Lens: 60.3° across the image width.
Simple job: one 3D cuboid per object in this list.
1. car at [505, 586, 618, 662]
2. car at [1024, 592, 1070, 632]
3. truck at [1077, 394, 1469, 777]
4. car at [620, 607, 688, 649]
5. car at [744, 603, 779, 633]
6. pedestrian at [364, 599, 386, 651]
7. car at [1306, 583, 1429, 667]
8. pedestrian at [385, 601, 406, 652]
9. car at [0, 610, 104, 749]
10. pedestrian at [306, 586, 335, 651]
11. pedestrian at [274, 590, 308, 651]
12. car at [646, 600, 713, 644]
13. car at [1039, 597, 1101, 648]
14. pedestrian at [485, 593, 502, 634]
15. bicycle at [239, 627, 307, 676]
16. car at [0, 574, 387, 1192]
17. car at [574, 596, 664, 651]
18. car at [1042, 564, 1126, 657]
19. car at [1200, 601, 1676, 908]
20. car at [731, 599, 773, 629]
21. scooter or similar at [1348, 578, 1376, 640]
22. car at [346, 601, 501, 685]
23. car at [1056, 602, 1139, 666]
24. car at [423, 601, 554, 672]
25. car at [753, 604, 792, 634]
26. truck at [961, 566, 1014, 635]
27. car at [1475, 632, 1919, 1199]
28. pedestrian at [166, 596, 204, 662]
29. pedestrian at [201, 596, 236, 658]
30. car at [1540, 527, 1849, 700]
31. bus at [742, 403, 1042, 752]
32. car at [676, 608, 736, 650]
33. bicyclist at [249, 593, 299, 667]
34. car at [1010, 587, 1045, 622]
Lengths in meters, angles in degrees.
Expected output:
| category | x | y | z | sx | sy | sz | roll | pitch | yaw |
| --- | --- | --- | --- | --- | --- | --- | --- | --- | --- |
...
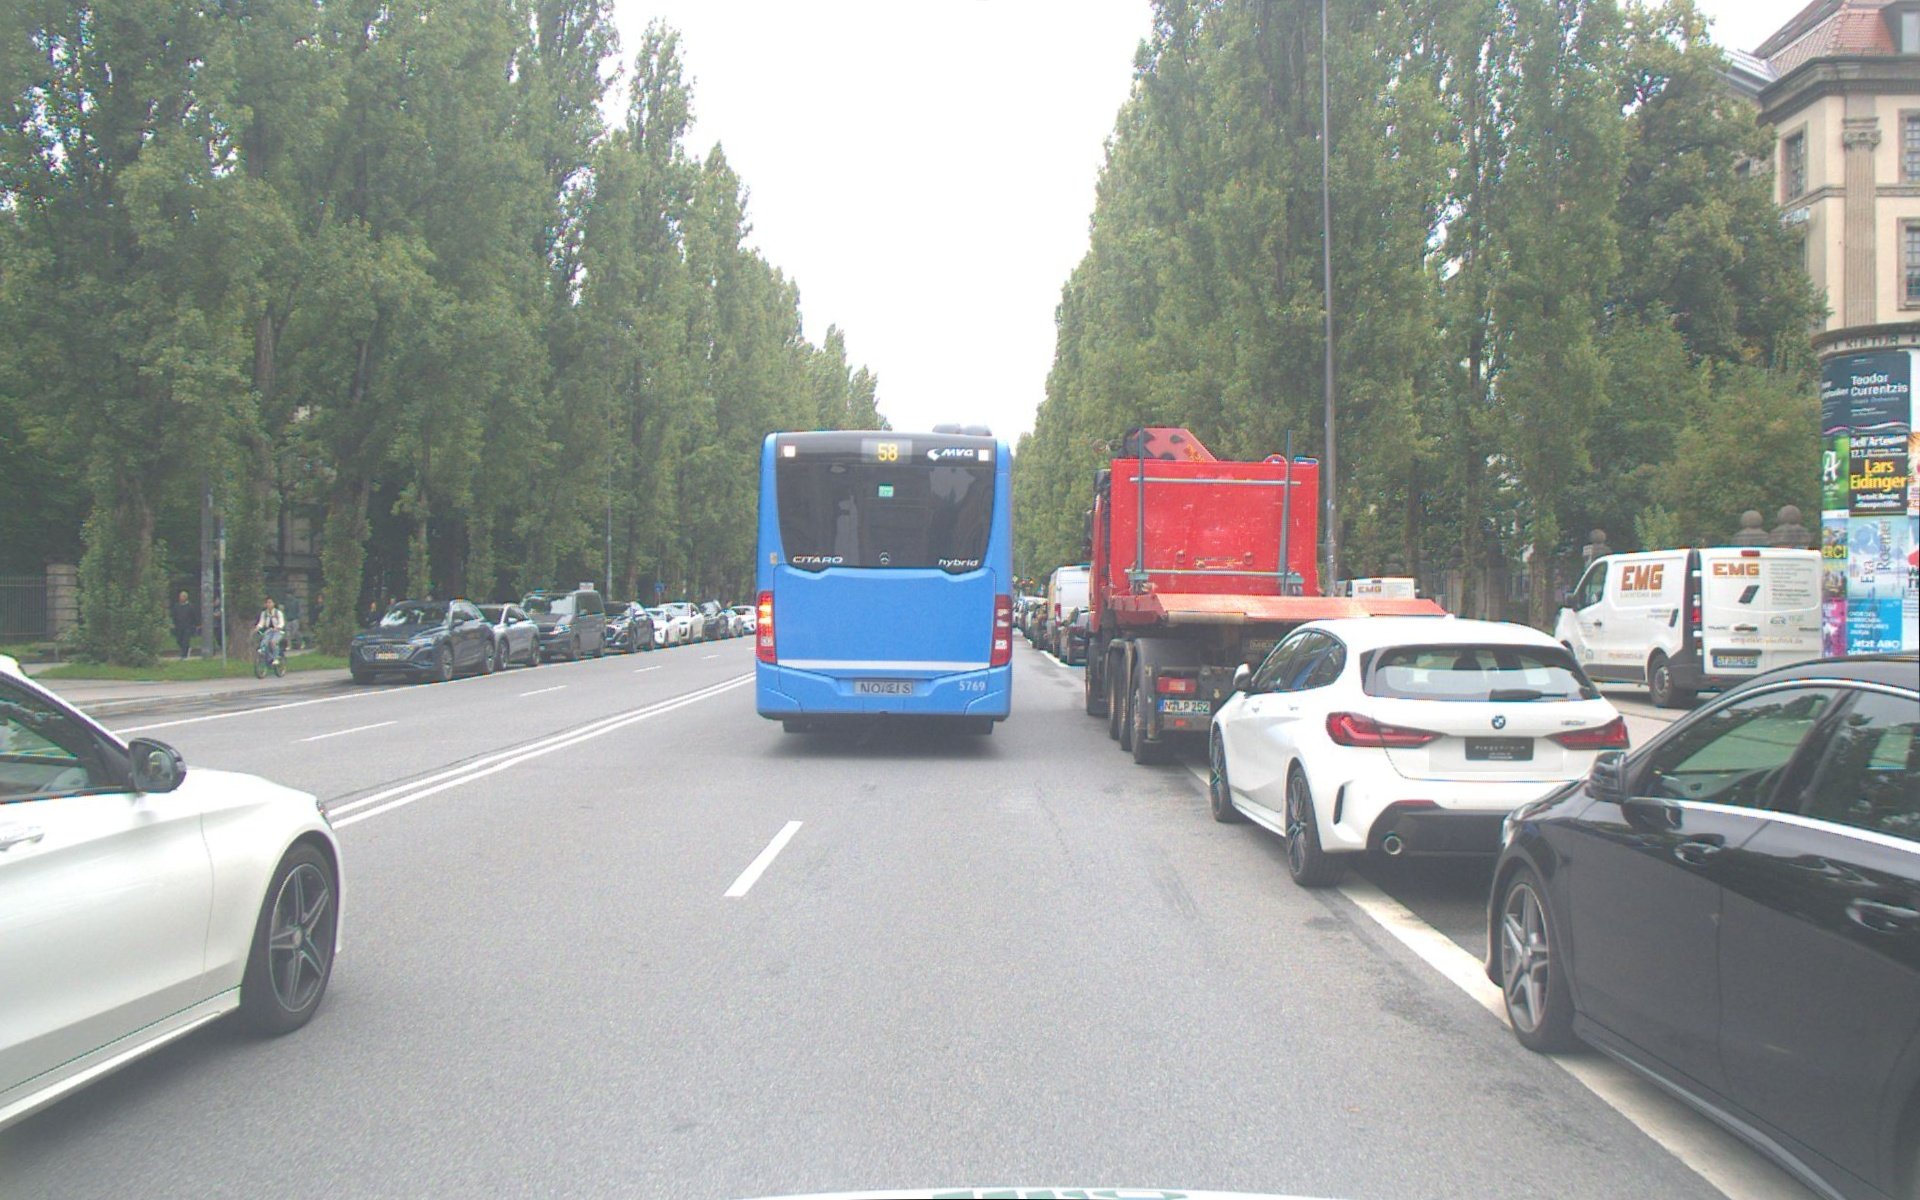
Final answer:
| category | x | y | z | sx | sy | sz | roll | pitch | yaw |
| --- | --- | --- | --- | --- | --- | --- | --- | --- | --- |
| car | -11.299 | 0.647 | 47.200 | 1.953 | 1.991 | 4.937 | -2 | 0 | 0 |
| car | 3.695 | 0.517 | 70.783 | 1.744 | 1.609 | 4.146 | 2 | 0 | 0 |
| truck | 2.960 | -0.105 | 18.910 | 2.657 | 3.164 | 10.427 | 0 | 0 | 1 |
| car | -11.152 | 1.015 | 60.502 | 1.642 | 1.447 | 4.237 | -2 | -1 | 0 |
| car | -10.787 | 1.000 | 90.029 | 1.709 | 1.545 | 4.114 | -2 | 0 | -5 |
| pedestrian | -19.898 | 0.843 | 56.234 | 0.498 | 1.737 | 0.569 | 1 | 0 | 1 |
| car | 10.160 | 0.616 | 41.592 | 1.952 | 1.980 | 5.083 | 0 | 0 | 1 |
| pedestrian | -19.239 | 0.894 | 56.356 | 0.498 | 1.737 | 0.569 | 1 | 0 | 1 |
| car | -11.649 | 0.911 | 18.166 | 1.891 | 1.523 | 4.791 | -1 | 0 | 1 |
| pedestrian | -20.400 | 0.574 | 52.736 | 0.652 | 2.049 | 0.638 | 1 | 0 | 0 |
| pedestrian | -21.189 | 0.647 | 52.429 | 0.731 | 1.887 | 0.757 | 1 | 0 | 1 |
| car | -11.136 | 0.845 | 65.878 | 1.748 | 1.616 | 4.462 | -2 | 0 | 1 |
| car | 3.634 | 0.725 | 55.277 | 1.783 | 1.618 | 4.223 | 1 | 0 | 0 |
| pedestrian | -20.595 | 0.607 | 73.089 | 0.538 | 1.778 | 0.672 | 1 | -1 | 0 |
| bicycle | -14.260 | 1.056 | 34.363 | 0.693 | 0.955 | 1.735 | 1 | 0 | -1 |
| car | -3.180 | 0.661 | 4.004 | 1.787 | 1.480 | 4.584 | 1 | 0 | 3 |
| car | -11.050 | 0.747 | 53.946 | 1.778 | 1.637 | 5.053 | -2 | 0 | 0 |
| car | 3.597 | 0.307 | 49.020 | 2.032 | 2.522 | 6.283 | 1 | 0 | 0 |
| car | 2.658 | 0.762 | 10.237 | 1.751 | 1.485 | 4.217 | 1 | 0 | 0 |
| car | -10.697 | 0.732 | 85.267 | 1.651 | 1.437 | 4.004 | -2 | 0 | 0 |
| scooter or similar | 8.460 | 0.184 | 34.814 | 0.329 | 1.288 | 1.186 | 0 | 0 | 1 |
| car | -11.430 | 0.866 | 35.568 | 1.745 | 1.624 | 4.613 | -2 | 0 | 0 |
| car | 3.421 | 0.820 | 41.798 | 1.718 | 1.475 | 4.000 | 2 | 0 | 0 |
| car | -11.611 | 0.865 | 41.055 | 1.852 | 1.612 | 4.654 | -1 | 0 | 0 |
| car | -10.732 | 1.084 | 95.022 | 1.777 | 1.672 | 4.000 | 0 | 0 | 0 |
| truck | 1.208 | 0.057 | 74.885 | 2.280 | 2.949 | 7.332 | 0 | 0 | 0 |
| car | 2.777 | 0.789 | 4.169 | 1.699 | 1.333 | 4.371 | 0 | 0 | 1 |
| pedestrian | -20.129 | 0.749 | 42.954 | 0.605 | 1.689 | 0.704 | 1 | 0 | 1 |
| pedestrian | -21.161 | 0.767 | 47.212 | 0.653 | 1.752 | 0.733 | 0 | 0 | 2 |
| car | 9.491 | 0.165 | 21.881 | 1.842 | 1.979 | 4.884 | 2 | 0 | -1 |
| bus | -0.768 | -0.191 | 20.180 | 2.798 | 3.270 | 9.056 | 1 | 0 | -2 |
| car | -10.947 | 1.220 | 71.575 | 1.842 | 1.687 | 4.717 | -2 | 0 | -1 |
| bicyclist | -14.252 | 0.613 | 34.389 | 0.679 | 1.524 | 0.861 | 0 | 0 | -1 |
| car | 4.060 | 0.256 | 100.675 | 2.010 | 2.049 | 5.693 | 0 | 0 | 1 |
